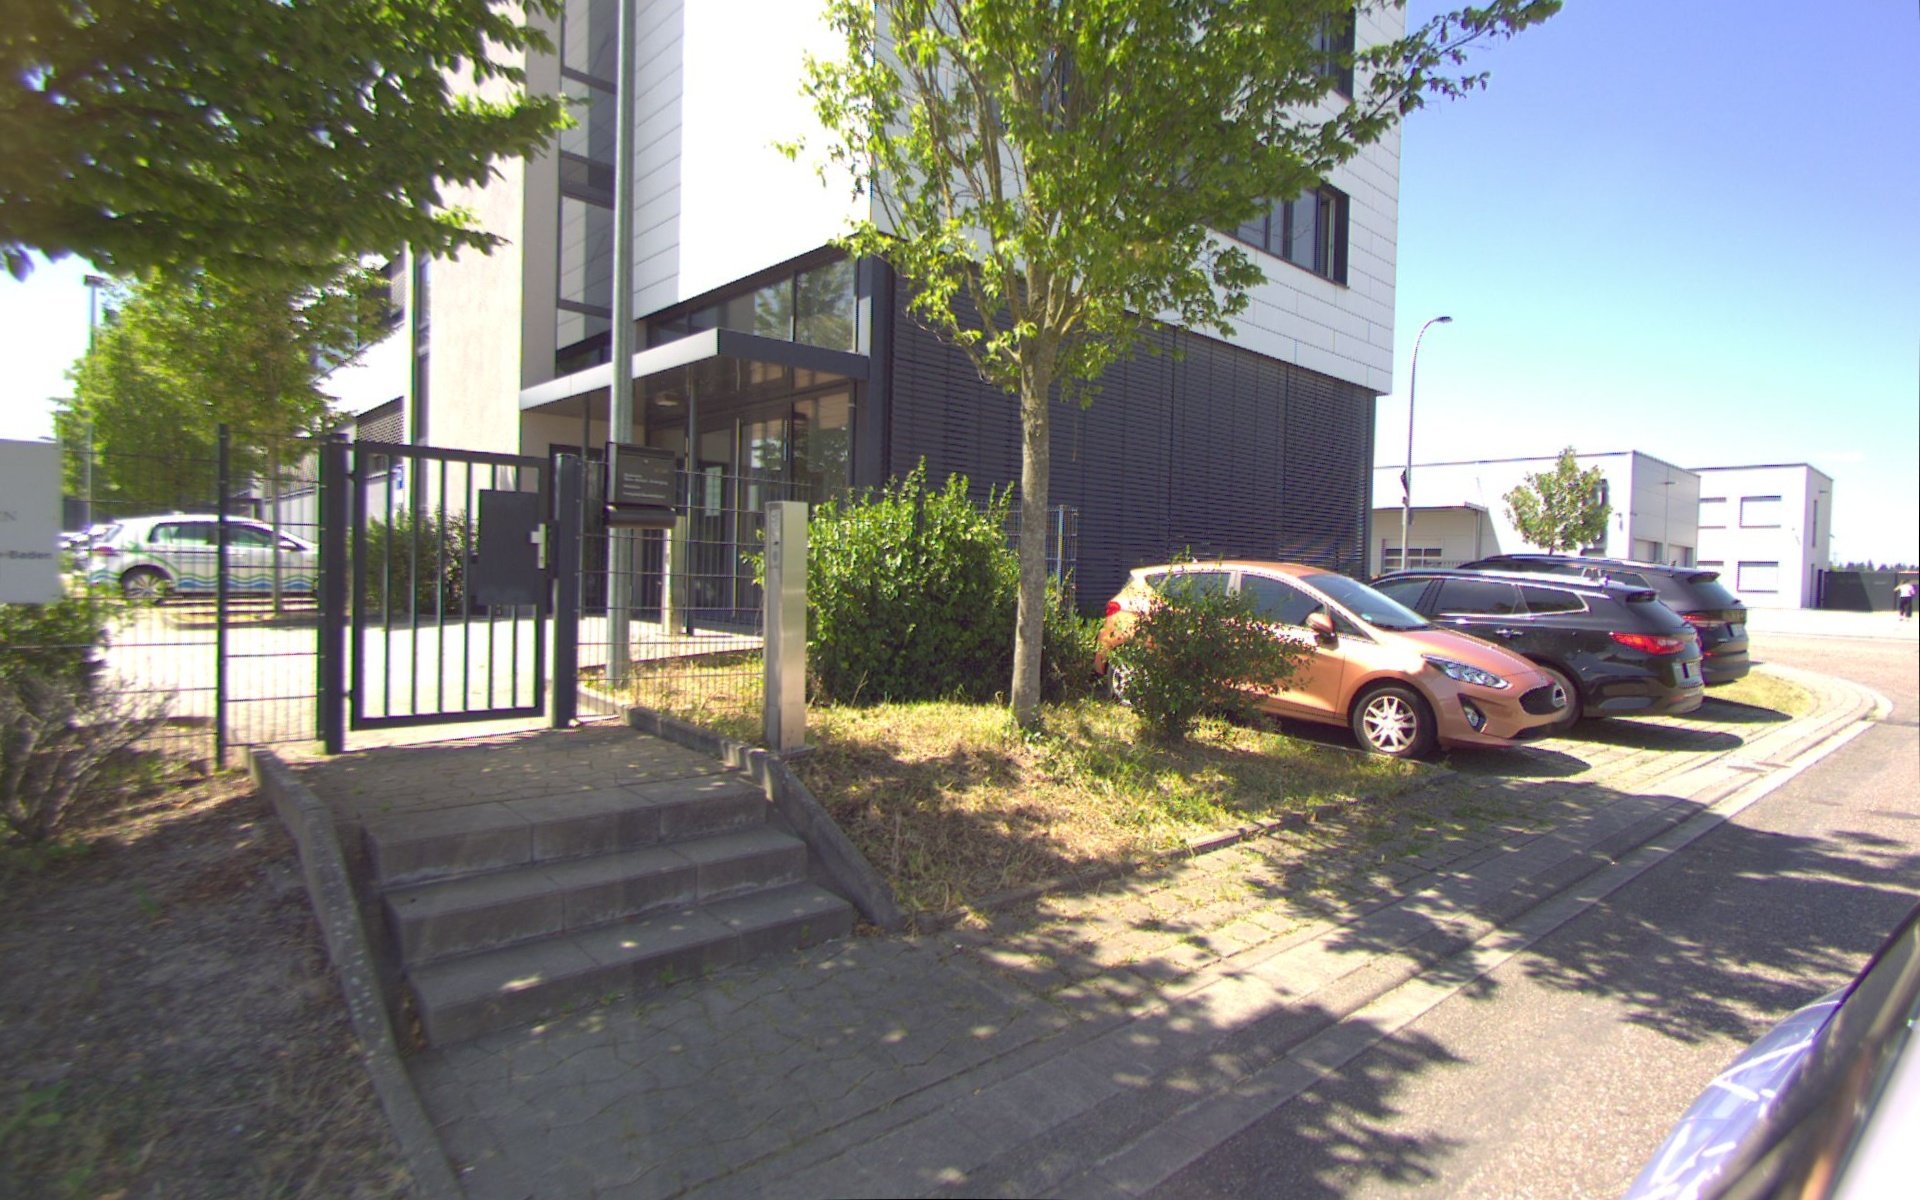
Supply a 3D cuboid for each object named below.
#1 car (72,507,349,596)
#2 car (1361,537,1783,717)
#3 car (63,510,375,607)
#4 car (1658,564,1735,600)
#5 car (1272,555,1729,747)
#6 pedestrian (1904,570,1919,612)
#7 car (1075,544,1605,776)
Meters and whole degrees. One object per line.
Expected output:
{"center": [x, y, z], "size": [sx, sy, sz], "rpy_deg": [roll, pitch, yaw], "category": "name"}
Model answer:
{"center": [-14.410, -0.941, 19.655], "size": [4.148, 1.548, 1.810], "rpy_deg": [-2, 4, -39], "category": "car"}
{"center": [7.207, 0.177, 12.290], "size": [1.693, 1.787, 3.999], "rpy_deg": [0, 3, -38], "category": "car"}
{"center": [-12.583, -0.726, 17.411], "size": [4.148, 1.478, 1.810], "rpy_deg": [-2, 4, -39], "category": "car"}
{"center": [31.317, -0.790, 42.997], "size": [3.803, 1.437, 1.796], "rpy_deg": [-1, 3, -41], "category": "car"}
{"center": [5.328, 0.352, 10.308], "size": [1.752, 1.513, 3.717], "rpy_deg": [-1, 3, -43], "category": "car"}
{"center": [38.321, -0.352, 40.398], "size": [0.770, 1.649, 0.614], "rpy_deg": [2, 2, 34], "category": "pedestrian"}
{"center": [3.101, 0.319, 8.887], "size": [1.696, 1.513, 3.993], "rpy_deg": [0, 3, -43], "category": "car"}
